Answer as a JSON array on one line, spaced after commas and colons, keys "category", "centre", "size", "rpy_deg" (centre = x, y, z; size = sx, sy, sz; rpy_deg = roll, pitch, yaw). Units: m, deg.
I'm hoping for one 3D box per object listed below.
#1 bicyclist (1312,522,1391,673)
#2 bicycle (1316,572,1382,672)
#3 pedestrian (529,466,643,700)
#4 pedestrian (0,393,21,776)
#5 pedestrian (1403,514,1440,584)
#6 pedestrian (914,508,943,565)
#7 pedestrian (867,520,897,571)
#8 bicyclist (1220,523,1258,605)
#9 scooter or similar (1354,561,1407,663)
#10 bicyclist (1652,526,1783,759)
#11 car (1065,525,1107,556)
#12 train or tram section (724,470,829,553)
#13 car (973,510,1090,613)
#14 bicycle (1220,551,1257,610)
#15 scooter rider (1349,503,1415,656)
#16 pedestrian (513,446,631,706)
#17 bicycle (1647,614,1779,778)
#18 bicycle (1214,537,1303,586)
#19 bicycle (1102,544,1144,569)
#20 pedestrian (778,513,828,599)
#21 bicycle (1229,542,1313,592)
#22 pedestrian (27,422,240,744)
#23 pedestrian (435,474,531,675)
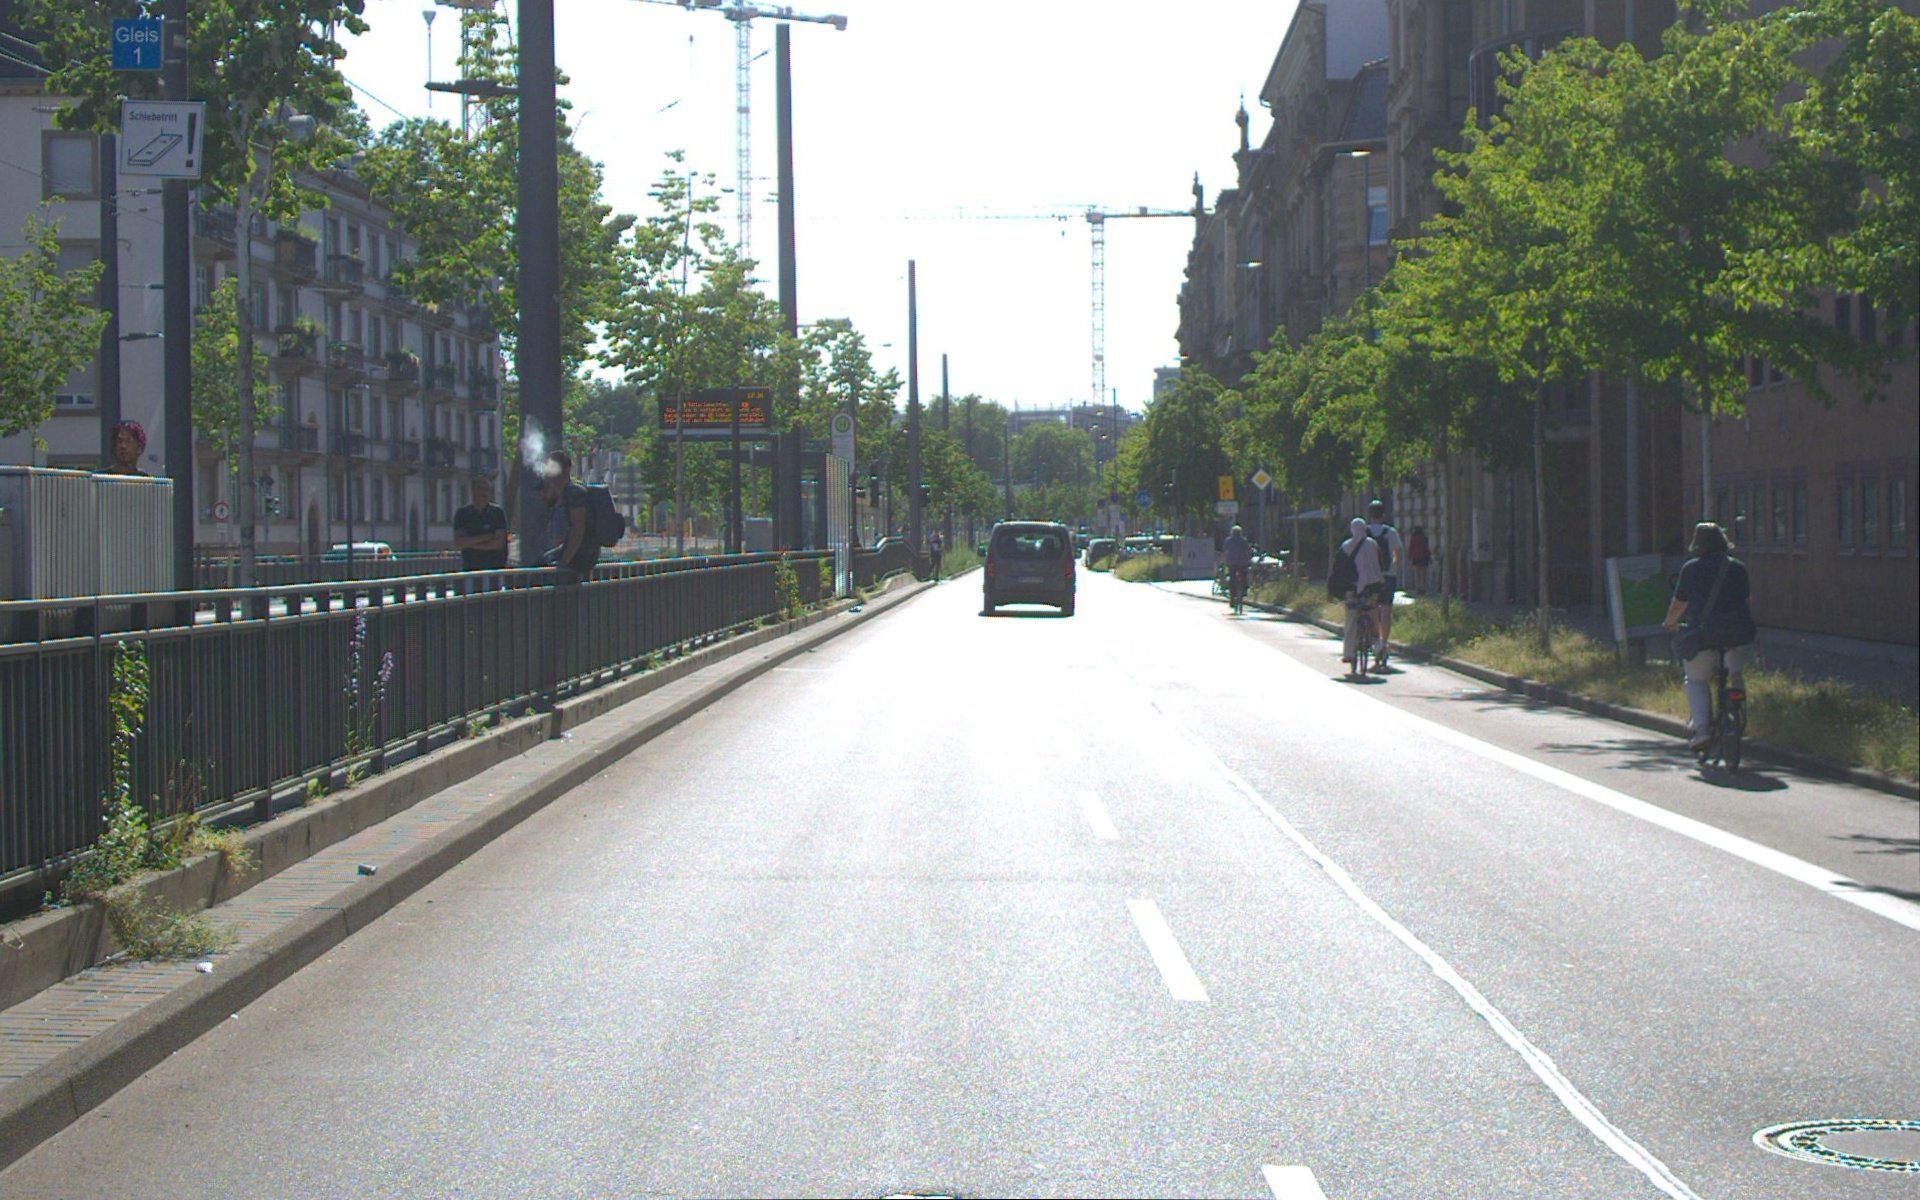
[{"category": "bicyclist", "centre": [4.501, -0.037, 39.591], "size": [0.779, 1.705, 0.868], "rpy_deg": [1, 1, 1]}, {"category": "bicycle", "centre": [4.479, 0.246, 39.661], "size": [0.557, 1.089, 1.792], "rpy_deg": [1, 1, 1]}, {"category": "pedestrian", "centre": [-2.825, -0.133, 26.036], "size": [0.746, 1.742, 0.715], "rpy_deg": [-1, 1, 1]}, {"category": "pedestrian", "centre": [-4.901, -0.068, 16.124], "size": [0.753, 1.805, 0.840], "rpy_deg": [-1, 1, -2]}, {"category": "pedestrian", "centre": [10.326, -1.144, 76.964], "size": [0.709, 1.536, 0.927], "rpy_deg": [-1, 1, 1]}, {"category": "pedestrian", "centre": [-1.006, -2.029, 109.651], "size": [0.865, 1.782, 0.971], "rpy_deg": [0, 1, -5]}, {"category": "pedestrian", "centre": [-2.333, -1.642, 103.046], "size": [0.813, 1.531, 0.798], "rpy_deg": [0, 1, 3]}, {"category": "bicyclist", "centre": [5.764, -0.748, 71.167], "size": [0.684, 1.667, 0.922], "rpy_deg": [1, 1, 1]}, {"category": "scooter or similar", "centre": [5.189, 0.137, 42.489], "size": [0.490, 1.222, 1.170], "rpy_deg": [1, 1, 1]}, {"category": "bicyclist", "centre": [5.122, 0.272, 23.290], "size": [0.657, 1.532, 0.909], "rpy_deg": [1, 1, 1]}, {"category": "car", "centre": [6.308, -2.987, 172.414], "size": [2.028, 1.493, 4.654], "rpy_deg": [-1, 1, 1]}, {"category": "train or tram section", "centre": [-6.373, -3.052, 120.747], "size": [2.756, 2.733, 9.863], "rpy_deg": [1, 1, 2]}, {"category": "car", "centre": [1.415, -0.778, 67.977], "size": [2.200, 1.919, 4.654], "rpy_deg": [-1, 1, 1]}, {"category": "bicycle", "centre": [5.753, -0.420, 71.097], "size": [0.601, 1.177, 1.869], "rpy_deg": [1, 1, 1]}, {"category": "scooter rider", "centre": [5.219, -0.264, 42.568], "size": [0.666, 1.854, 0.901], "rpy_deg": [1, 1, 1]}, {"category": "pedestrian", "centre": [-2.851, -0.183, 25.335], "size": [0.746, 1.878, 0.715], "rpy_deg": [-1, 1, 1]}, {"category": "bicycle", "centre": [5.083, 0.630, 23.275], "size": [0.557, 1.023, 1.507], "rpy_deg": [1, 1, 1]}, {"category": "bicycle", "centre": [7.296, -0.937, 84.067], "size": [1.994, 1.089, 0.847], "rpy_deg": [-3, 1, -8]}, {"category": "bicycle", "centre": [7.056, -1.877, 148.797], "size": [1.792, 1.027, 0.527], "rpy_deg": [-1, 1, 1]}, {"category": "pedestrian", "centre": [-2.809, -0.792, 61.578], "size": [0.813, 1.531, 0.798], "rpy_deg": [0, 1, 3]}, {"category": "bicycle", "centre": [7.731, -0.833, 85.429], "size": [1.995, 1.124, 0.710], "rpy_deg": [-3, 1, 3]}, {"category": "pedestrian", "centre": [-4.793, -0.105, 20.003], "size": [0.991, 1.805, 1.023], "rpy_deg": [-1, 1, -2]}, {"category": "pedestrian", "centre": [-4.161, -0.228, 30.018], "size": [0.709, 1.717, 0.752], "rpy_deg": [-1, 1, 0]}]
